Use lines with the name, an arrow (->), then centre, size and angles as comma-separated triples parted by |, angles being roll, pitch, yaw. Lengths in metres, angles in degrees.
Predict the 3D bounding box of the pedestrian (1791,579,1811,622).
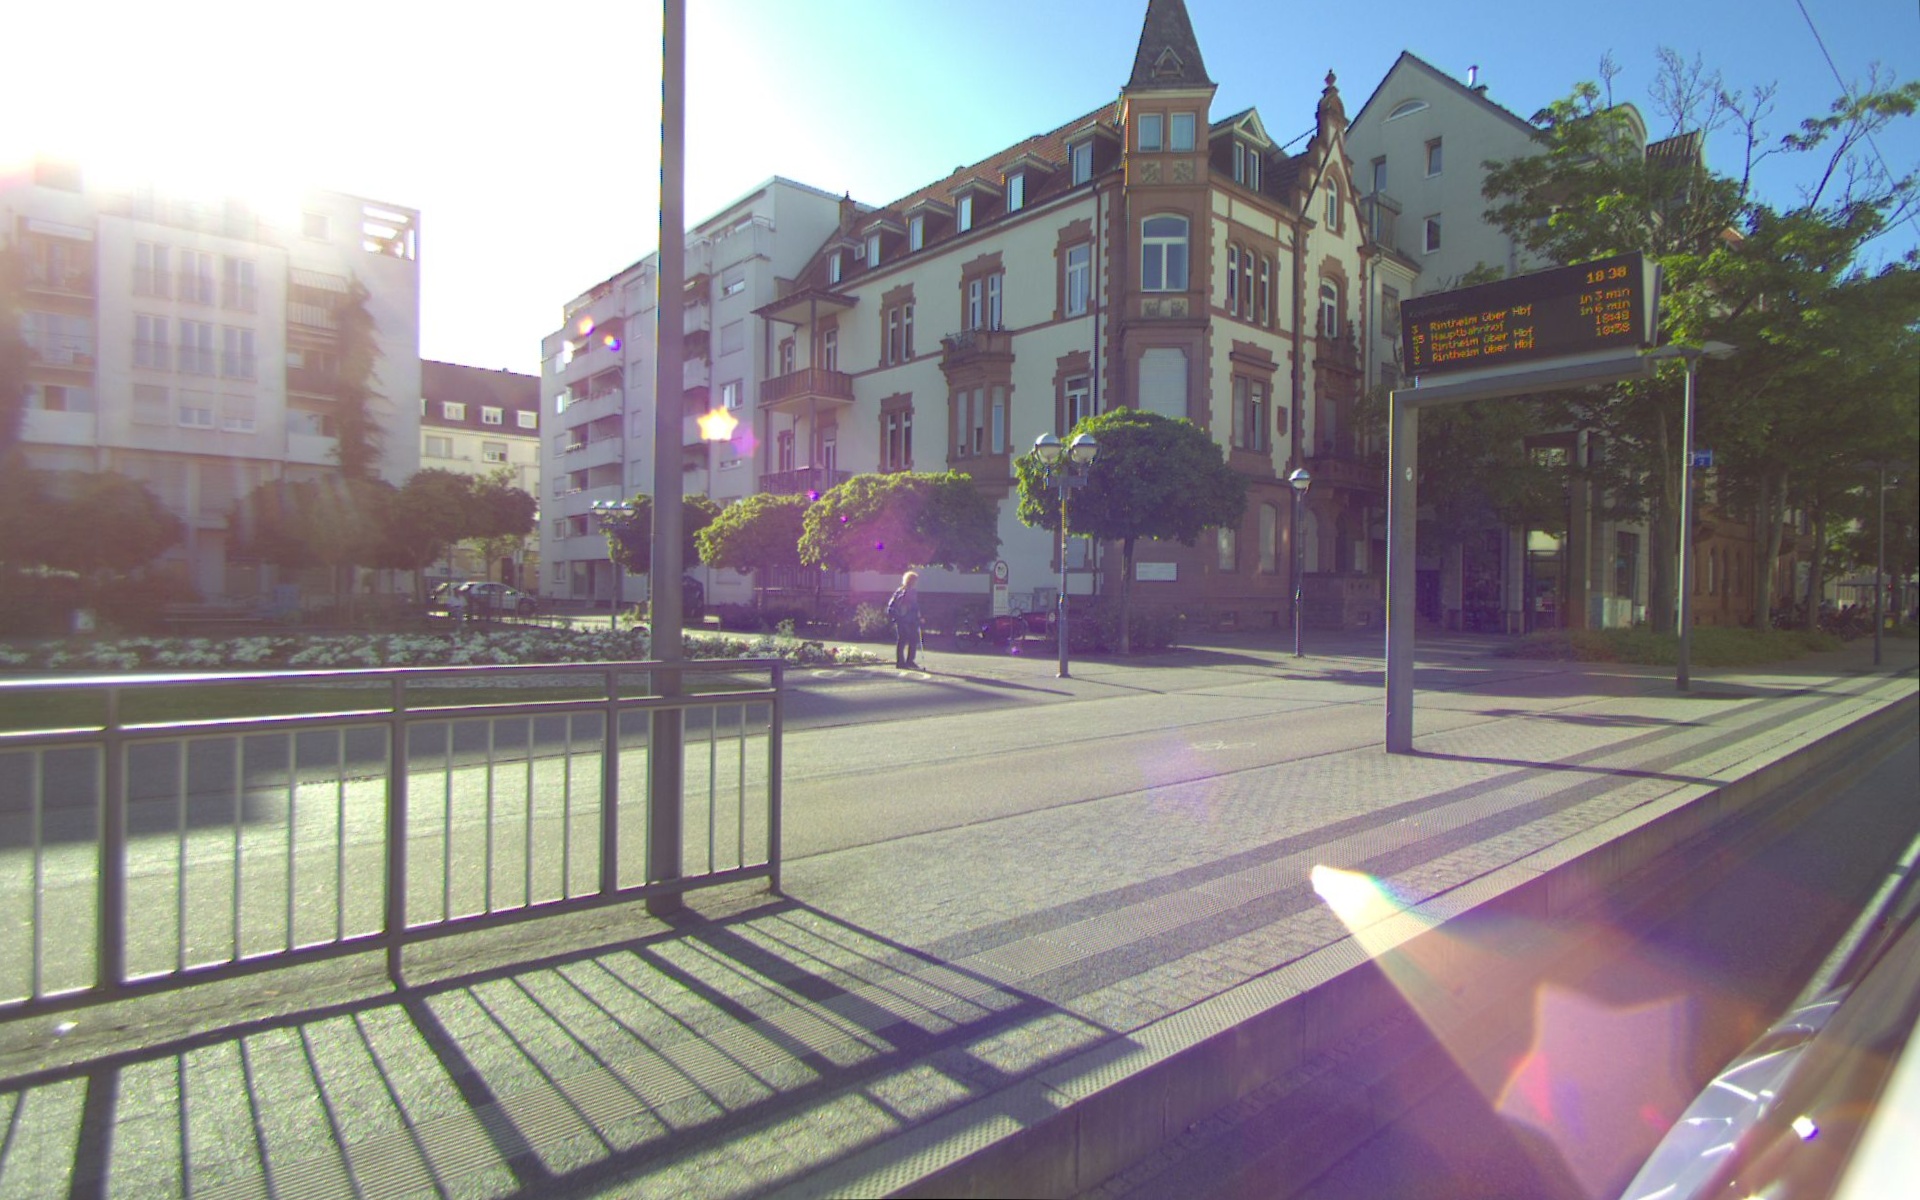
pedestrian -> 40.740, 0.024, 49.016 | 0.549, 2.039, 0.654 | 0, 0, -38

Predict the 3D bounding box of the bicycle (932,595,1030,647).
bicycle -> 0.537, 0.467, 24.062 | 0.786, 1.081, 2.767 | 1, 2, 40

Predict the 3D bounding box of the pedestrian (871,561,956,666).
pedestrian -> -0.783, 0.208, 16.966 | 1.064, 1.689, 0.944 | 1, 0, 37

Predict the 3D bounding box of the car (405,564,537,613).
car -> -27.799, -0.652, 57.692 | 6.291, 2.587, 2.808 | 0, 1, -44

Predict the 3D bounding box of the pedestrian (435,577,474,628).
pedestrian -> -14.646, 0.053, 29.326 | 0.917, 1.429, 1.529 | 0, 1, -30

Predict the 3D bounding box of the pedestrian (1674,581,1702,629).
pedestrian -> 27.338, 0.176, 38.013 | 0.740, 1.757, 0.864 | 1, 0, 43

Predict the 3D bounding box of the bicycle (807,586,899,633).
bicycle -> -3.240, 0.266, 30.898 | 2.864, 1.389, 0.745 | 0, 1, -41

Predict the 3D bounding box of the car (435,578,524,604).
car -> -24.927, -0.465, 52.483 | 3.923, 1.304, 2.001 | 0, 1, -34

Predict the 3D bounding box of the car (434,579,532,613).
car -> -22.543, -0.211, 47.839 | 3.923, 1.536, 2.001 | 0, 1, -34
